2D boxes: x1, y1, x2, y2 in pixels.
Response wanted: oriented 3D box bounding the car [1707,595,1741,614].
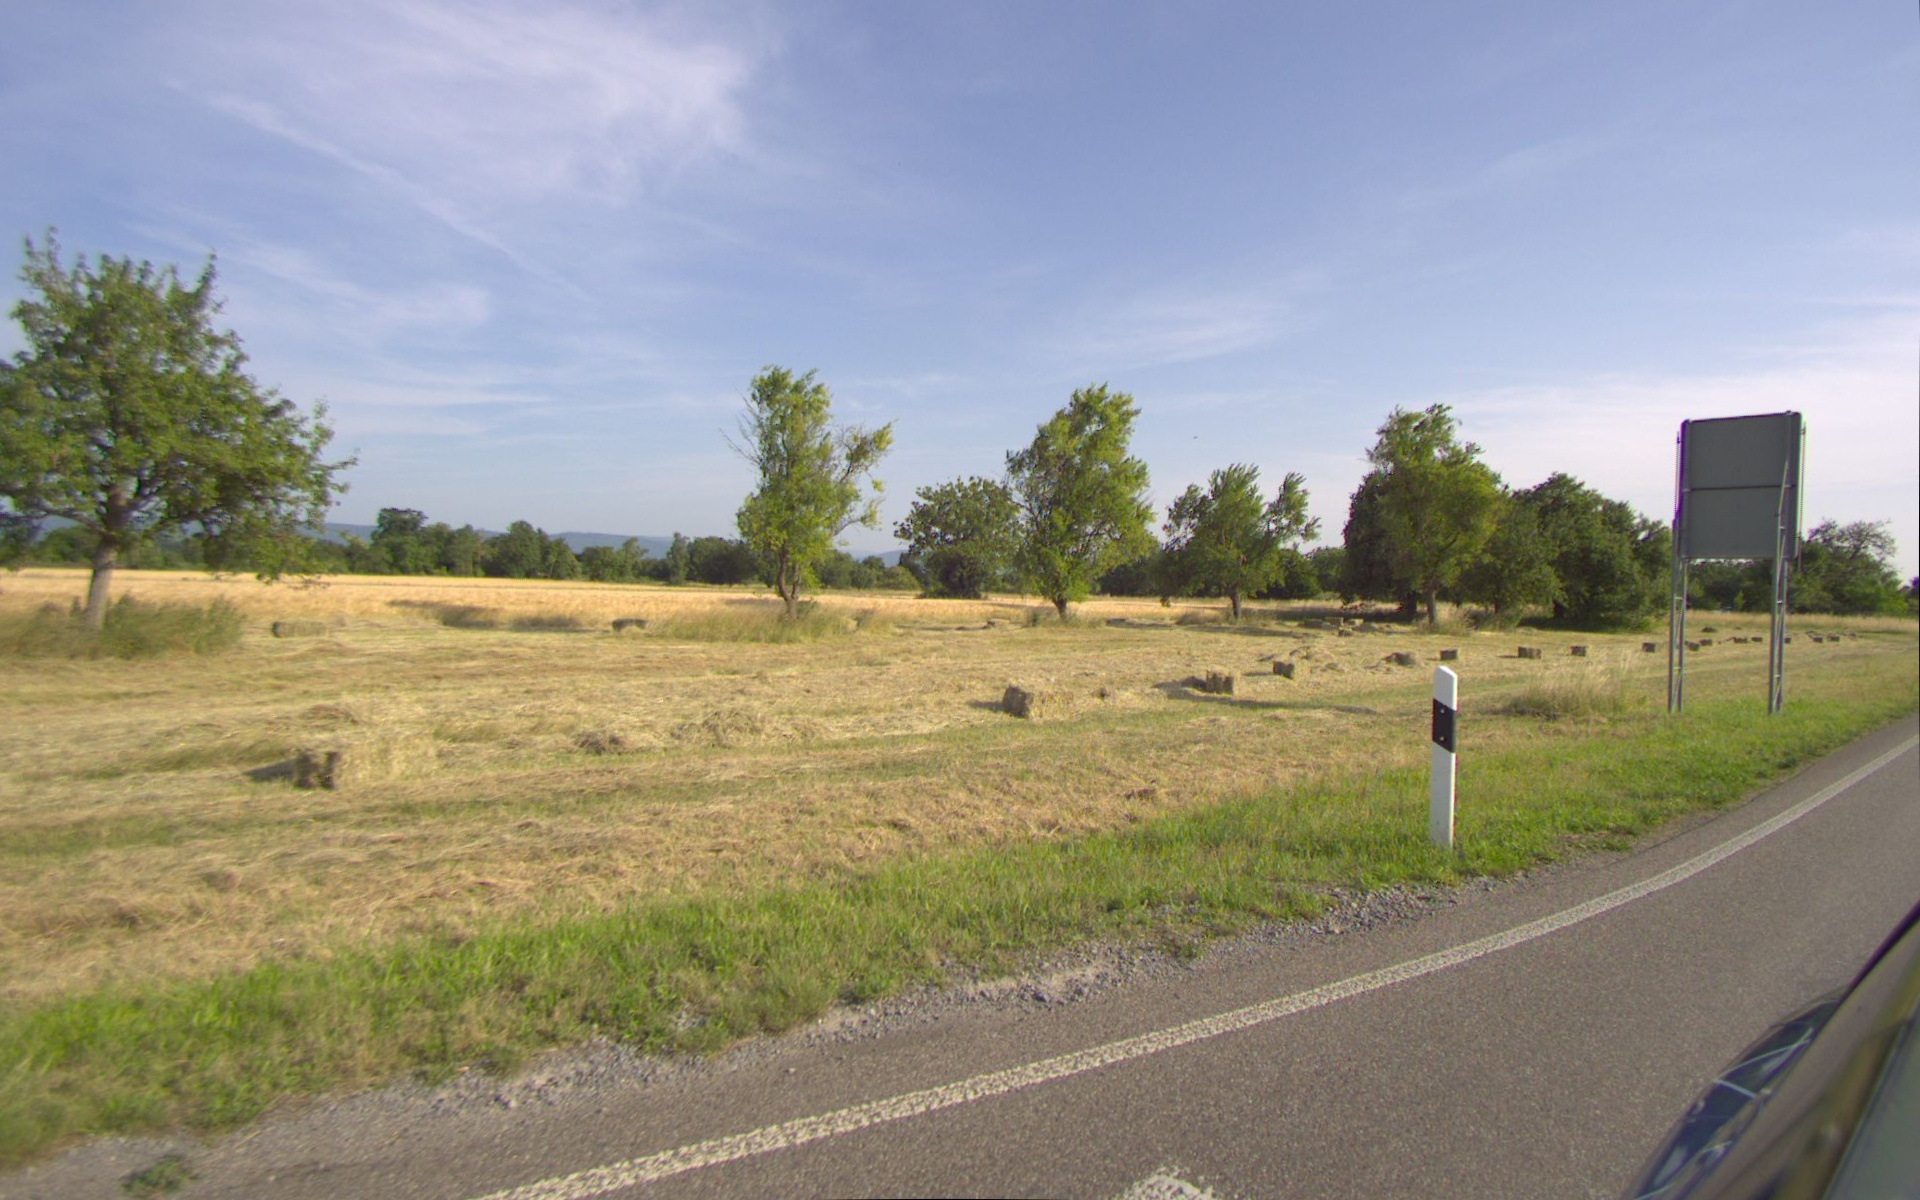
[{"bbox_3d":[75.198,0.461,99.588,3.930,1.772,1.997,1,0,-41],"label":"car"}]
